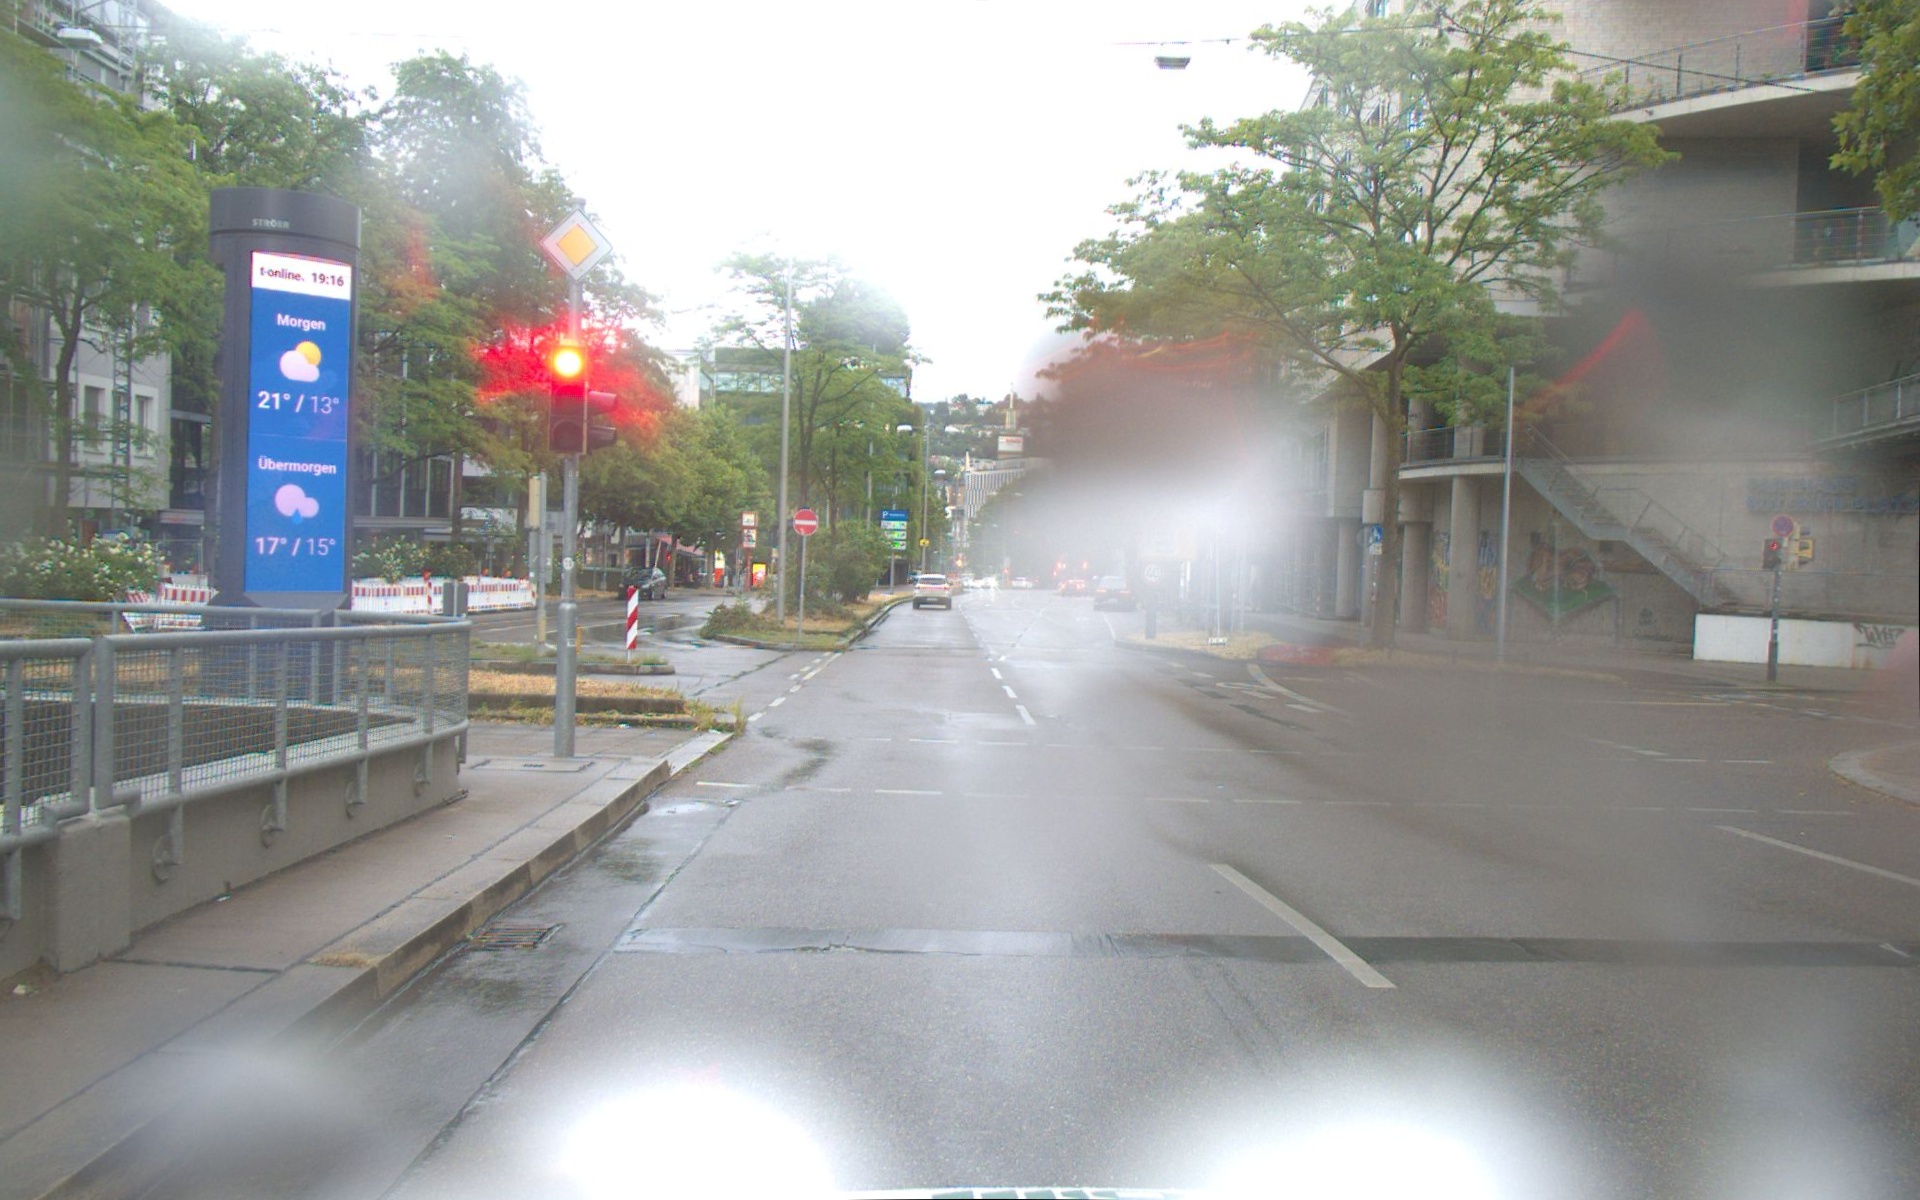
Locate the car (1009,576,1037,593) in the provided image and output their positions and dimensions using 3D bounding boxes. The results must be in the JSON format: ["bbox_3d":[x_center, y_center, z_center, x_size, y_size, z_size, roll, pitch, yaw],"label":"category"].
[{"bbox_3d":[7.696,-1.884,201.866,1.955,1.789,3.995,2,0,27],"label":"car"}]

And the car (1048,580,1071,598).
[{"bbox_3d":[10.028,-1.069,166.973,1.953,1.766,3.999,1,0,-1],"label":"car"}]

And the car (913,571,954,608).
[{"bbox_3d":[-1.309,-0.497,79.556,1.792,1.668,4.298,2,0,-3],"label":"car"}]

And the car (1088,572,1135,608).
[{"bbox_3d":[7.669,-0.503,83.551,2.288,1.720,4.003,1,1,6],"label":"car"}]

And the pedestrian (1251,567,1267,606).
[{"bbox_3d":[14.868,-0.665,82.271,0.759,1.954,0.703,1,-1,9],"label":"pedestrian"}]

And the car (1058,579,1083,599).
[{"bbox_3d":[10.330,-1.005,155.400,1.953,1.754,3.999,1,0,-2],"label":"car"}]
